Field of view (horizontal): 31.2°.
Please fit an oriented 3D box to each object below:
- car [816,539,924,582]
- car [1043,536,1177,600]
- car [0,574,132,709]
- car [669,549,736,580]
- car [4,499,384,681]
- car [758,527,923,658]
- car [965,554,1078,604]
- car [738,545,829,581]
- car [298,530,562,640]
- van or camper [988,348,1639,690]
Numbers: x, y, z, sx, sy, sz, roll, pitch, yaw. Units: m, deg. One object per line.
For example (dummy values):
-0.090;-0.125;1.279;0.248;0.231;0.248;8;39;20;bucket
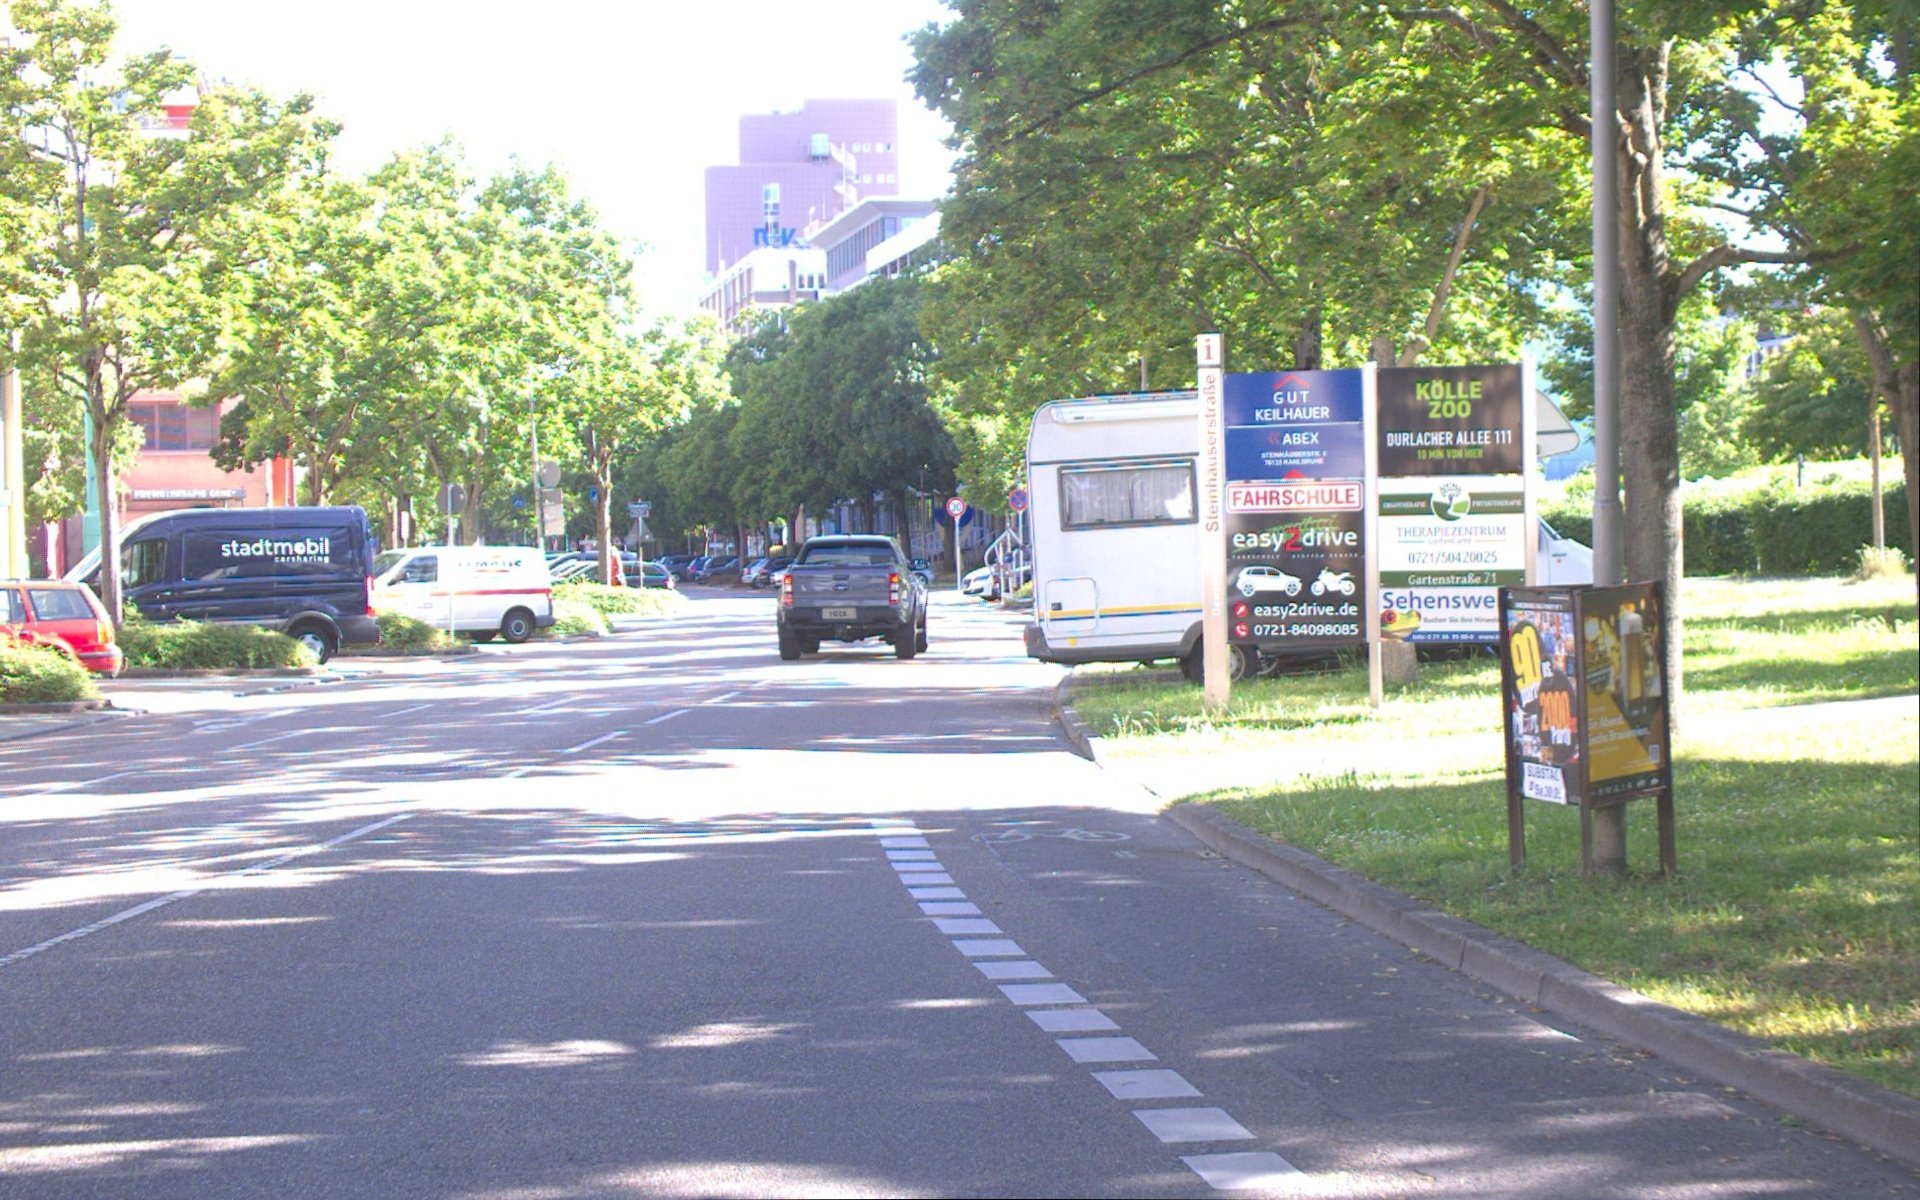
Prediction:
-3.457;-1.527;131.864;3.946;1.392;1.517;-4;1;-7;car
3.762;-0.818;86.471;3.244;1.392;1.516;-4;1;1;car
-12.366;0.535;41.291;4.406;1.547;1.922;-2;1;-23;car
-13.296;-1.839;177.375;3.278;1.392;1.517;-4;1;-7;car
-11.586;-0.182;52.011;5.260;2.537;1.986;-2;1;-23;car
-1.754;-0.162;52.120;2.133;1.829;4.940;-1;1;2;car
1.817;-0.624;101.818;3.244;1.273;1.516;-4;1;1;car
-7.991;-1.683;155.691;3.946;1.392;1.517;-4;1;-7;car
-10.808;-0.324;70.188;4.884;2.076;1.985;-2;1;-33;car
3.414;-0.793;34.341;6.079;2.918;2.575;-4;1;1;van or camper
